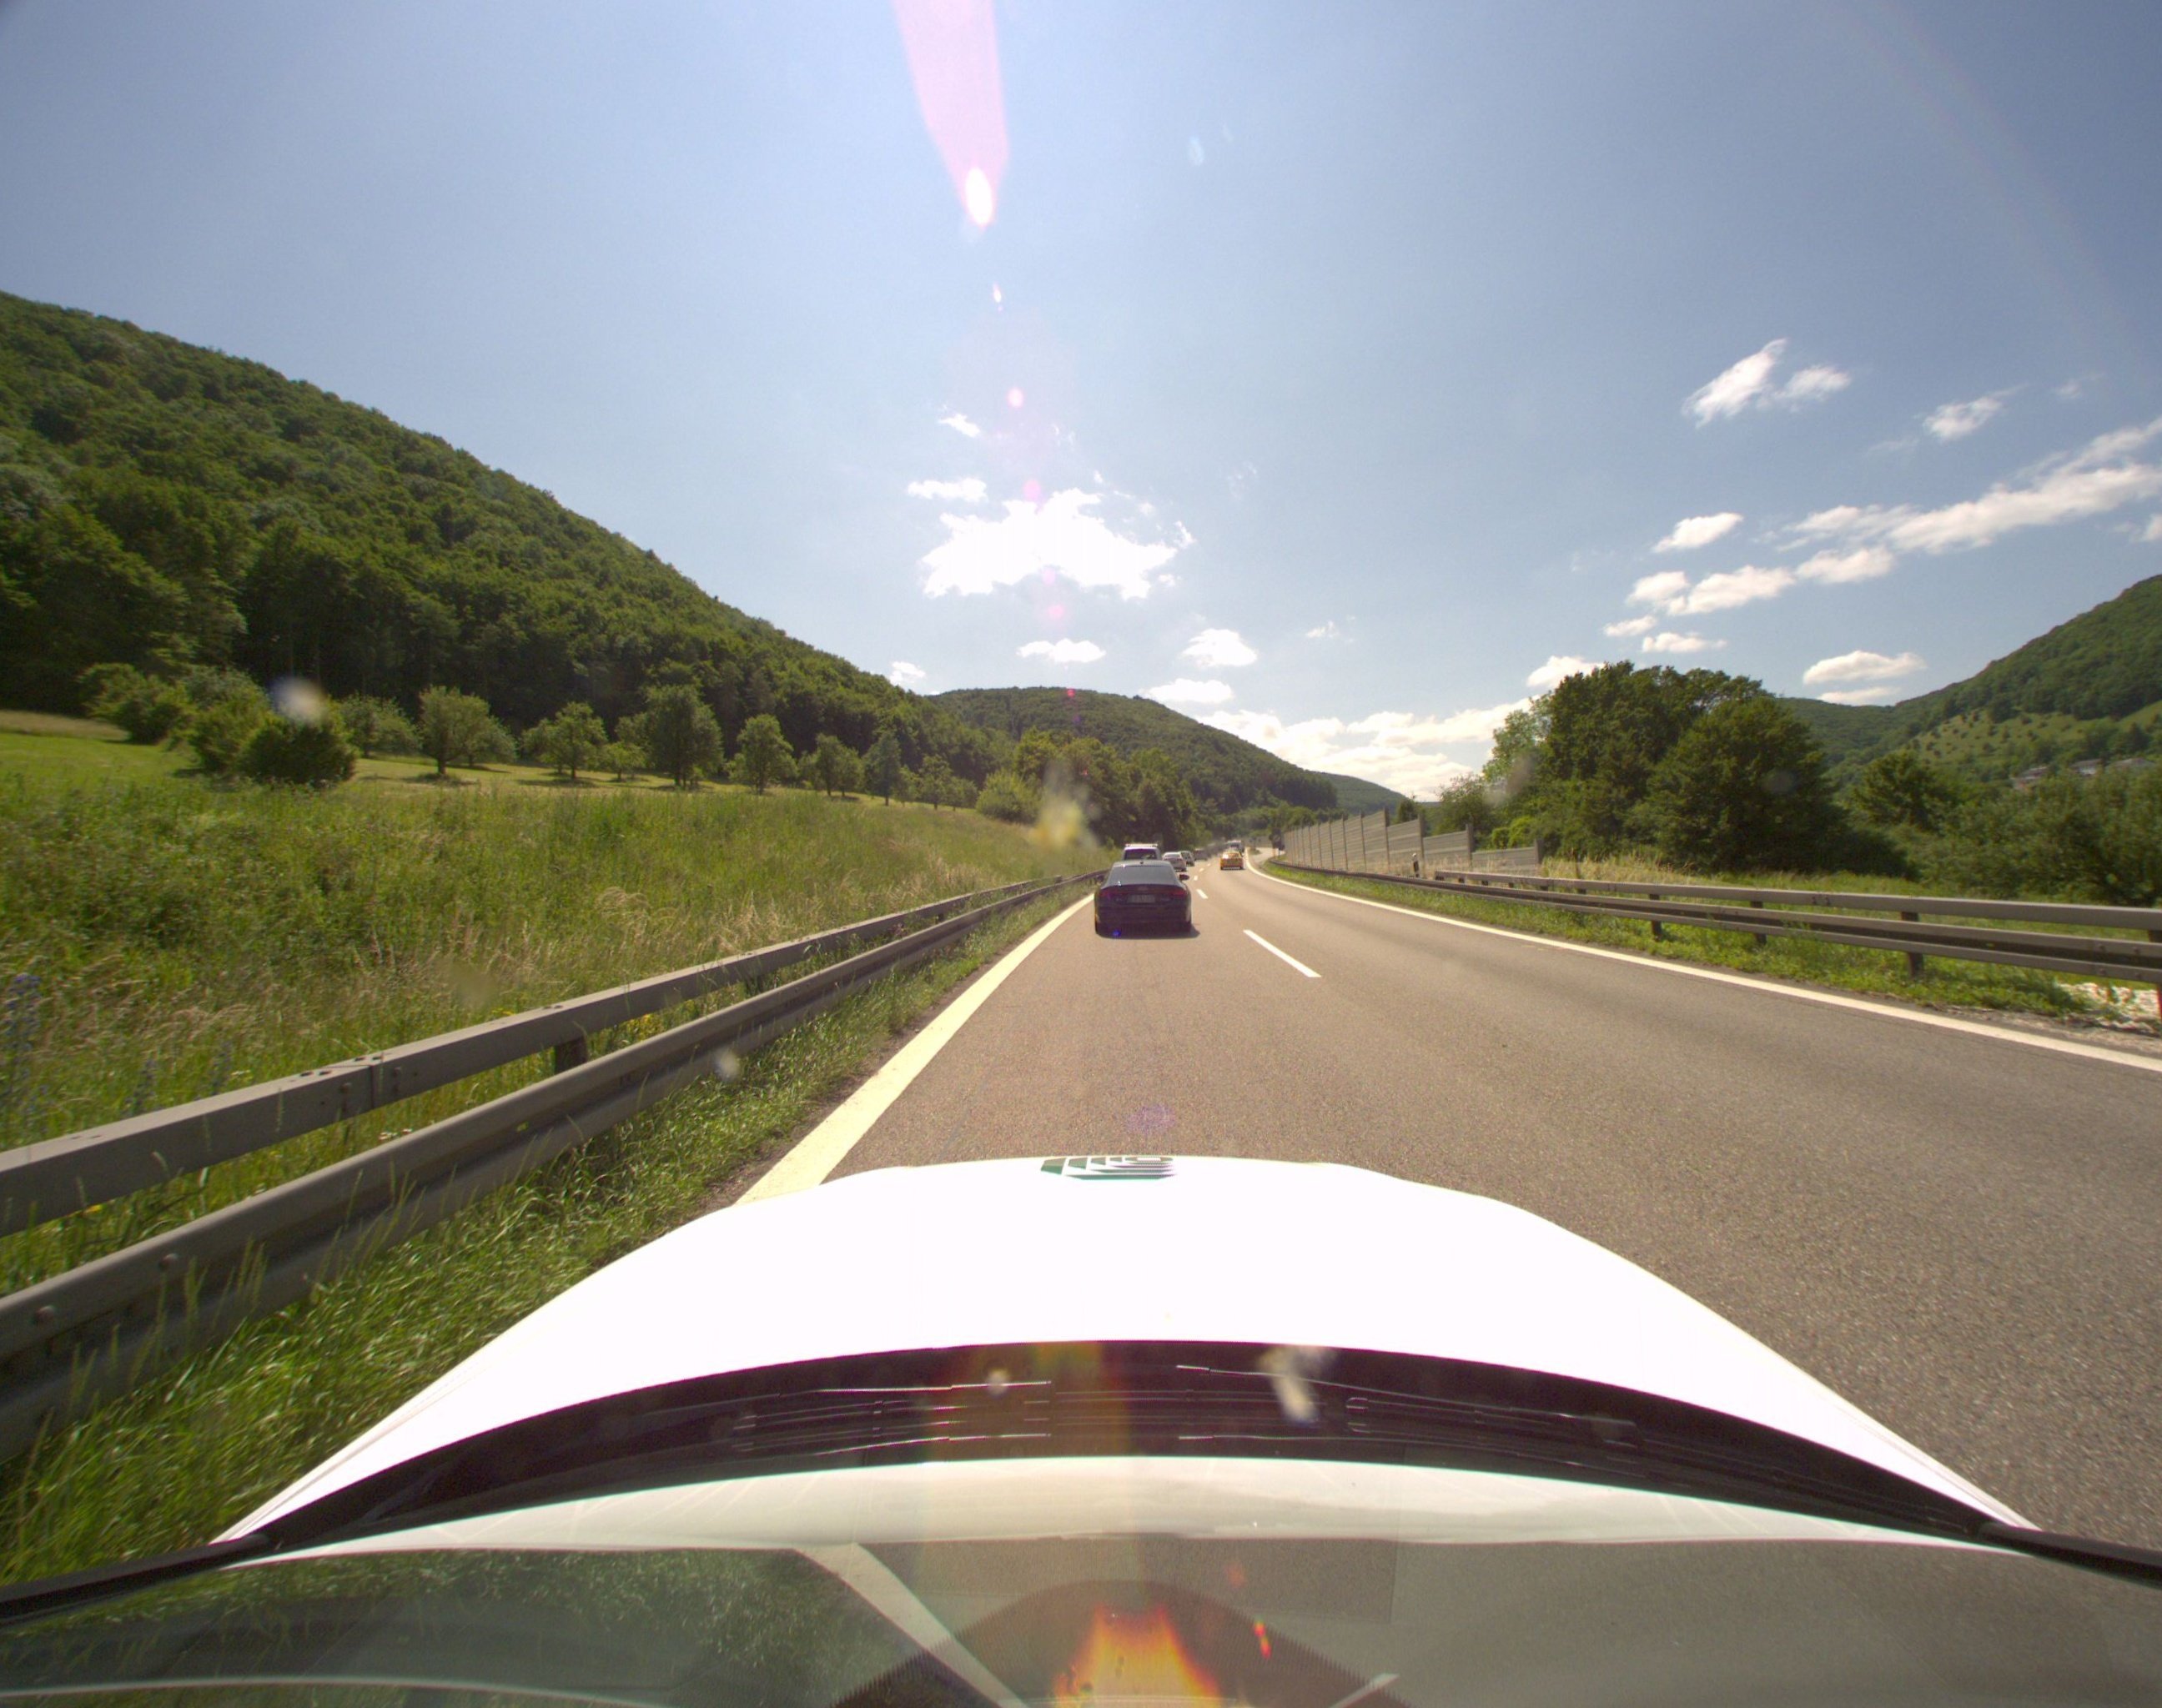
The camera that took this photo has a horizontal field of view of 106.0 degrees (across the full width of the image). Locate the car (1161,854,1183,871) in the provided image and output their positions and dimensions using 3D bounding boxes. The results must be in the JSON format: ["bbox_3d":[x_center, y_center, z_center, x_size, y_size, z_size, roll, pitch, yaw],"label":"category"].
[{"bbox_3d":[7.050,0.636,62.631,1.512,1.294,3.523,-1,0,9],"label":"car"}]

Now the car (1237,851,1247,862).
[{"bbox_3d":[25.060,0.398,126.839,1.478,1.570,3.010,0,0,12],"label":"car"}]

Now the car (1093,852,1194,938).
[{"bbox_3d":[1.273,0.755,16.703,1.804,1.514,3.518,-2,0,4],"label":"car"}]

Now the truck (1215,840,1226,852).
[{"bbox_3d":[32.669,-1.824,190.834,2.050,2.605,5.634,0,0,13],"label":"truck"}]

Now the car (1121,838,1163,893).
[{"bbox_3d":[2.353,0.410,31.274,1.514,1.968,3.519,0,0,5],"label":"car"}]

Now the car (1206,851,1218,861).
[{"bbox_3d":[20.713,0.252,128.402,1.510,1.553,3.527,0,0,14],"label":"car"}]

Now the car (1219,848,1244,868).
[{"bbox_3d":[12.117,0.337,65.490,1.866,1.499,4.013,-2,0,12],"label":"car"}]

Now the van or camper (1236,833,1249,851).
[{"bbox_3d":[37.097,-2.743,187.165,2.778,3.907,6.183,0,0,10],"label":"van or camper"}]

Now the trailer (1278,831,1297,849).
[{"bbox_3d":[45.672,-3.062,180.368,3.390,3.900,11.186,-2,0,11],"label":"trailer"}]

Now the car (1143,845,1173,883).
[{"bbox_3d":[4.082,0.533,43.369,1.532,1.925,3.483,0,0,5],"label":"car"}]

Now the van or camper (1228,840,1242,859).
[{"bbox_3d":[27.149,-0.794,143.449,2.413,3.155,5.220,0,0,12],"label":"van or camper"}]

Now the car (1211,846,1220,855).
[{"bbox_3d":[24.727,-0.607,149.819,1.510,1.553,3.527,0,0,13],"label":"car"}]

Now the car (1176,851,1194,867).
[{"bbox_3d":[10.269,0.499,80.414,1.511,1.553,3.526,0,0,12],"label":"car"}]

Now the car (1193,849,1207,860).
[{"bbox_3d":[15.978,0.072,109.108,1.510,1.553,3.527,0,0,13],"label":"car"}]

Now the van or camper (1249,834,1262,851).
[{"bbox_3d":[40.706,-2.618,190.311,2.778,3.841,6.183,0,0,10],"label":"van or camper"}]
